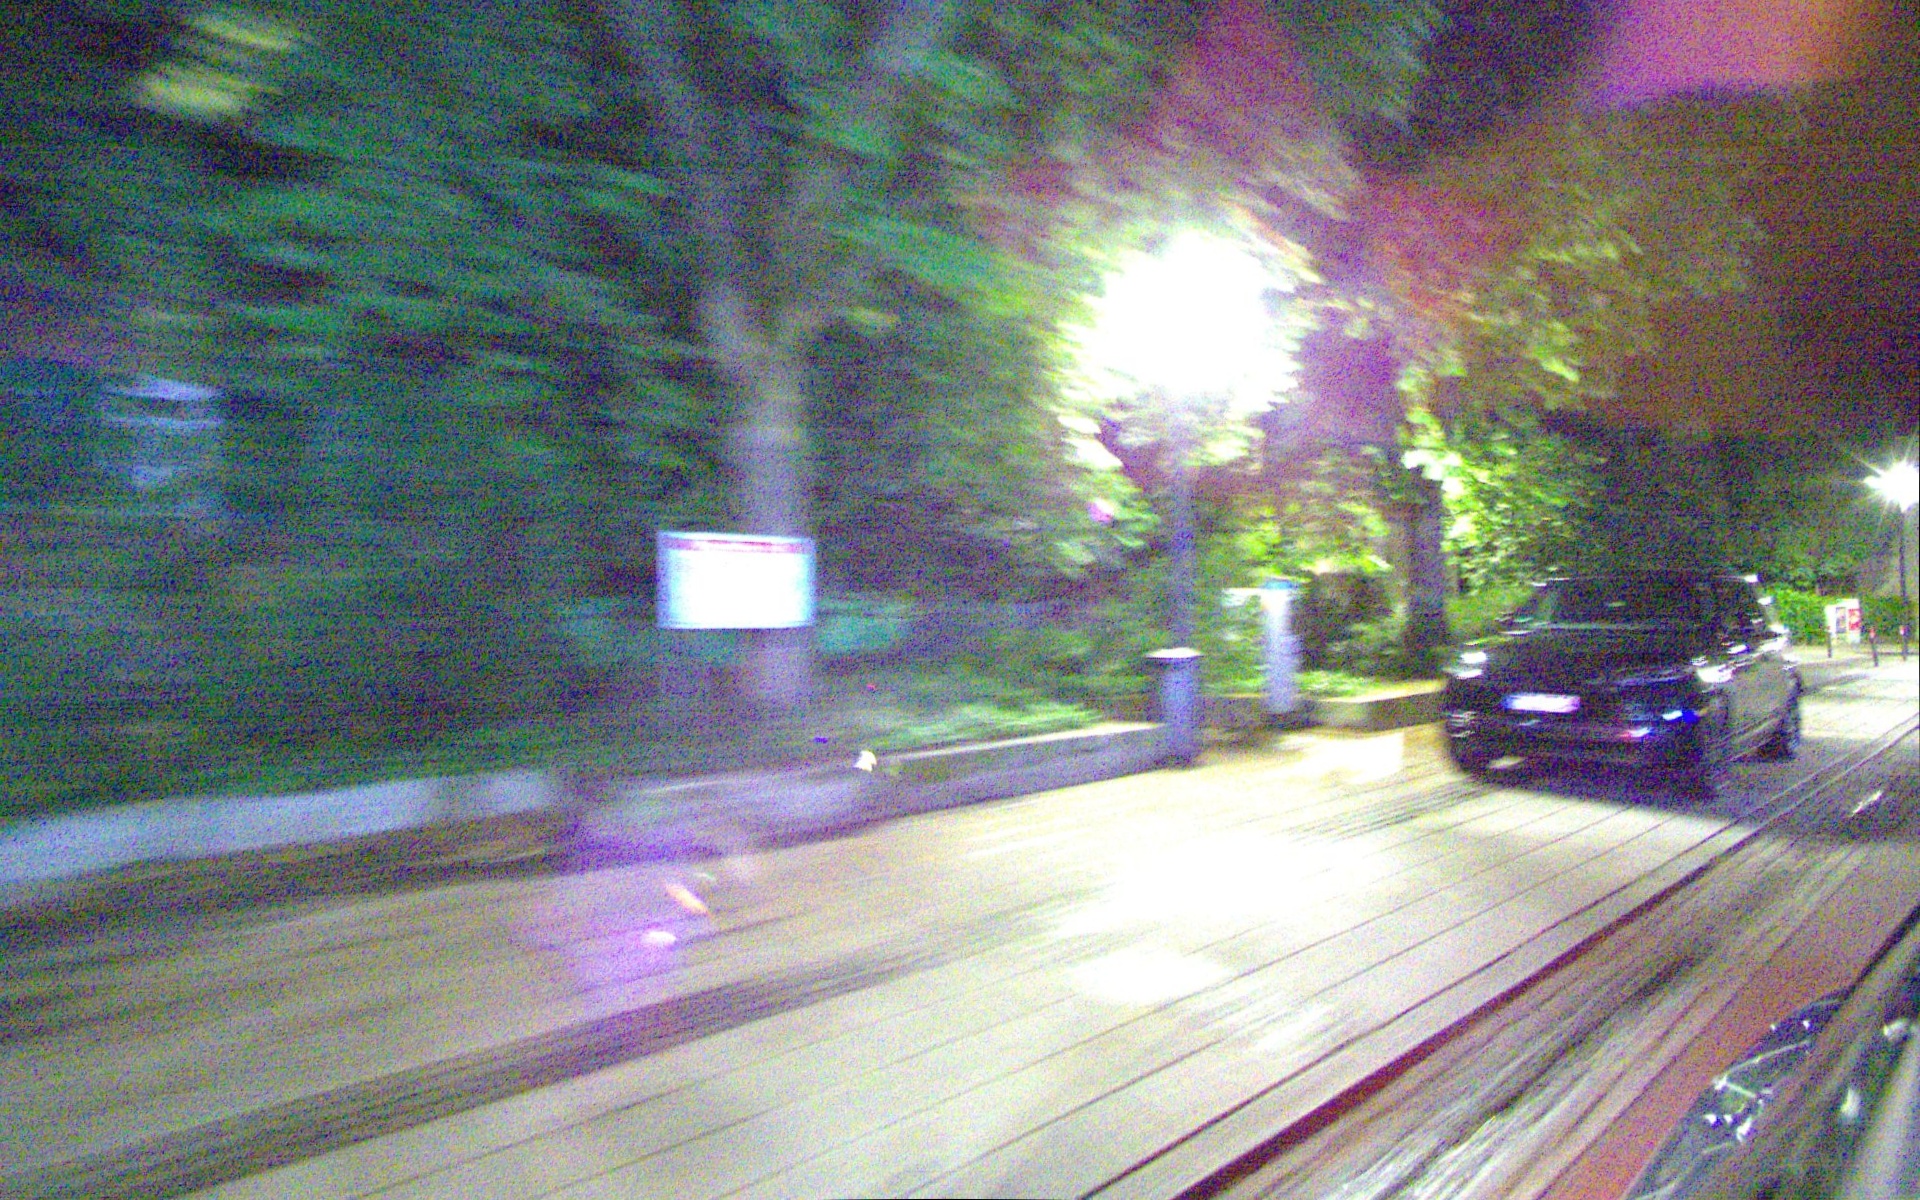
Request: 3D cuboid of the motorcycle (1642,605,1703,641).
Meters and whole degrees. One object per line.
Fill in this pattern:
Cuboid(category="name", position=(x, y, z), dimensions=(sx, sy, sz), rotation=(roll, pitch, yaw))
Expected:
Cuboid(category="motorcycle", position=(25.326, 0.823, 36.000), dimensions=(1.718, 1.267, 0.426), rotation=(-1, -1, 42))

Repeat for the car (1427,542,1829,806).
Cuboid(category="car", position=(6.336, 0.517, 9.339), dimensions=(4.852, 1.826, 1.910), rotation=(0, -1, -42))
